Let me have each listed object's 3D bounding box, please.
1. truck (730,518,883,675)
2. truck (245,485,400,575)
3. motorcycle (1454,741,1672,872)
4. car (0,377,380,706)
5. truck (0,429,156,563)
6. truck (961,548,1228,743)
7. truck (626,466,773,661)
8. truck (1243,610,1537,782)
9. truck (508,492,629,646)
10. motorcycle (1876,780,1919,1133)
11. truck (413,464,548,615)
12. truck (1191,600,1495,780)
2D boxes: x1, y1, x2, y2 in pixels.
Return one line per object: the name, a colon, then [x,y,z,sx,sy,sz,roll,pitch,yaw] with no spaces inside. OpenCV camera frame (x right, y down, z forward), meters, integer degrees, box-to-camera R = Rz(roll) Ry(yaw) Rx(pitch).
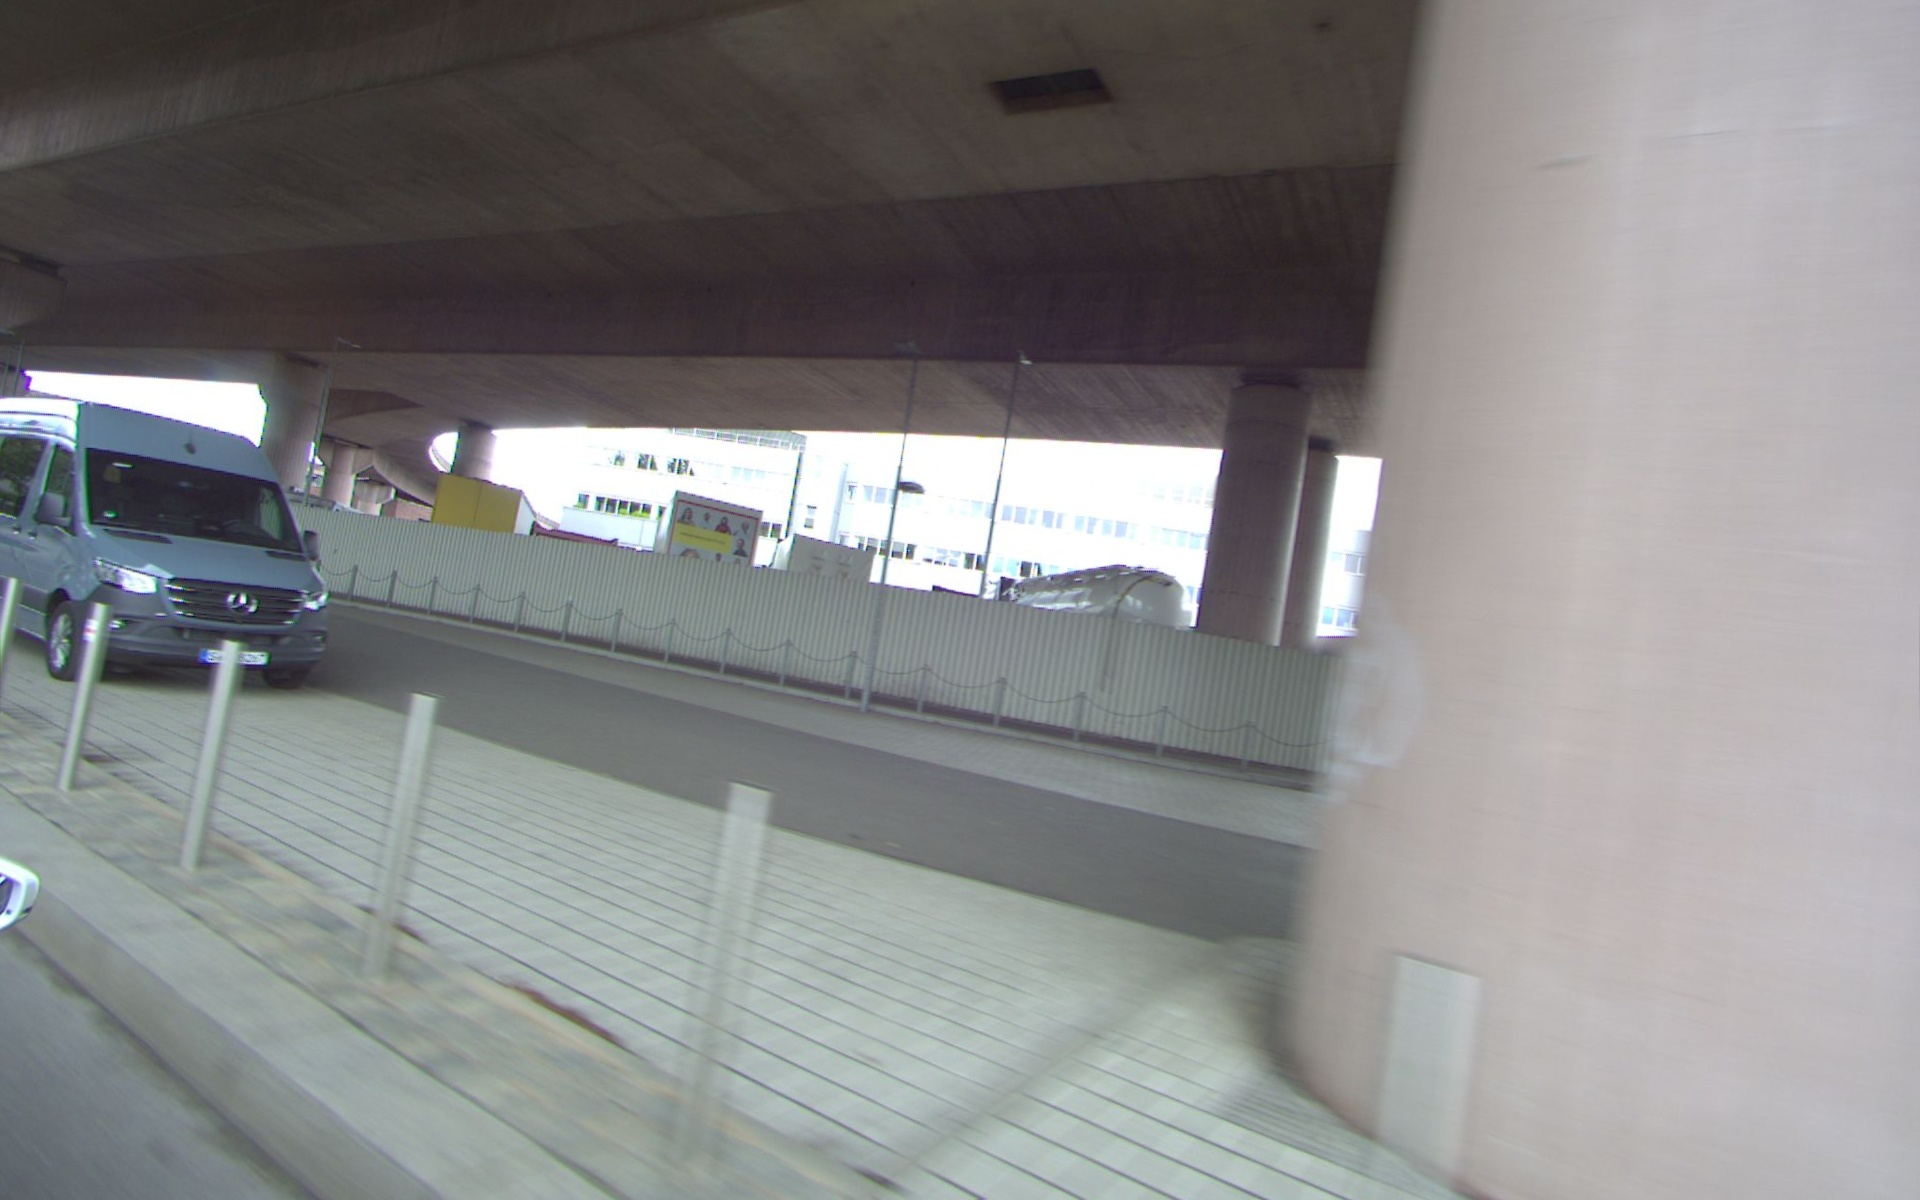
truck: [-5.506,-0.080,33.973,2.776,4.205,9.892,9,-3,-19]
truck: [-26.645,-2.750,42.604,3.101,2.979,8.686,7,-1,-17]
motorcycle: [8.651,2.922,14.547,2.494,1.249,0.784,9,-1,33]
car: [-8.898,-0.690,10.710,5.976,2.642,1.997,7,-2,34]
truck: [-42.246,-4.709,47.566,3.104,4.969,8.690,10,-4,-18]
truck: [3.329,1.149,29.249,2.971,4.351,10.261,8,-2,-18]
truck: [-8.756,-1.000,32.649,3.105,4.978,9.688,9,-2,-20]
truck: [13.124,2.746,31.909,2.873,4.285,8.731,9,-2,-21]
truck: [-13.344,-0.905,35.067,2.857,4.230,10.031,8,-2,-18]
motorcycle: [4.880,1.567,3.632,2.089,1.382,0.799,9,-1,12]
truck: [-17.713,-1.984,37.897,3.105,4.493,9.688,9,-2,-20]
truck: [10.824,2.349,29.795,2.873,4.205,8.731,9,-2,-21]
